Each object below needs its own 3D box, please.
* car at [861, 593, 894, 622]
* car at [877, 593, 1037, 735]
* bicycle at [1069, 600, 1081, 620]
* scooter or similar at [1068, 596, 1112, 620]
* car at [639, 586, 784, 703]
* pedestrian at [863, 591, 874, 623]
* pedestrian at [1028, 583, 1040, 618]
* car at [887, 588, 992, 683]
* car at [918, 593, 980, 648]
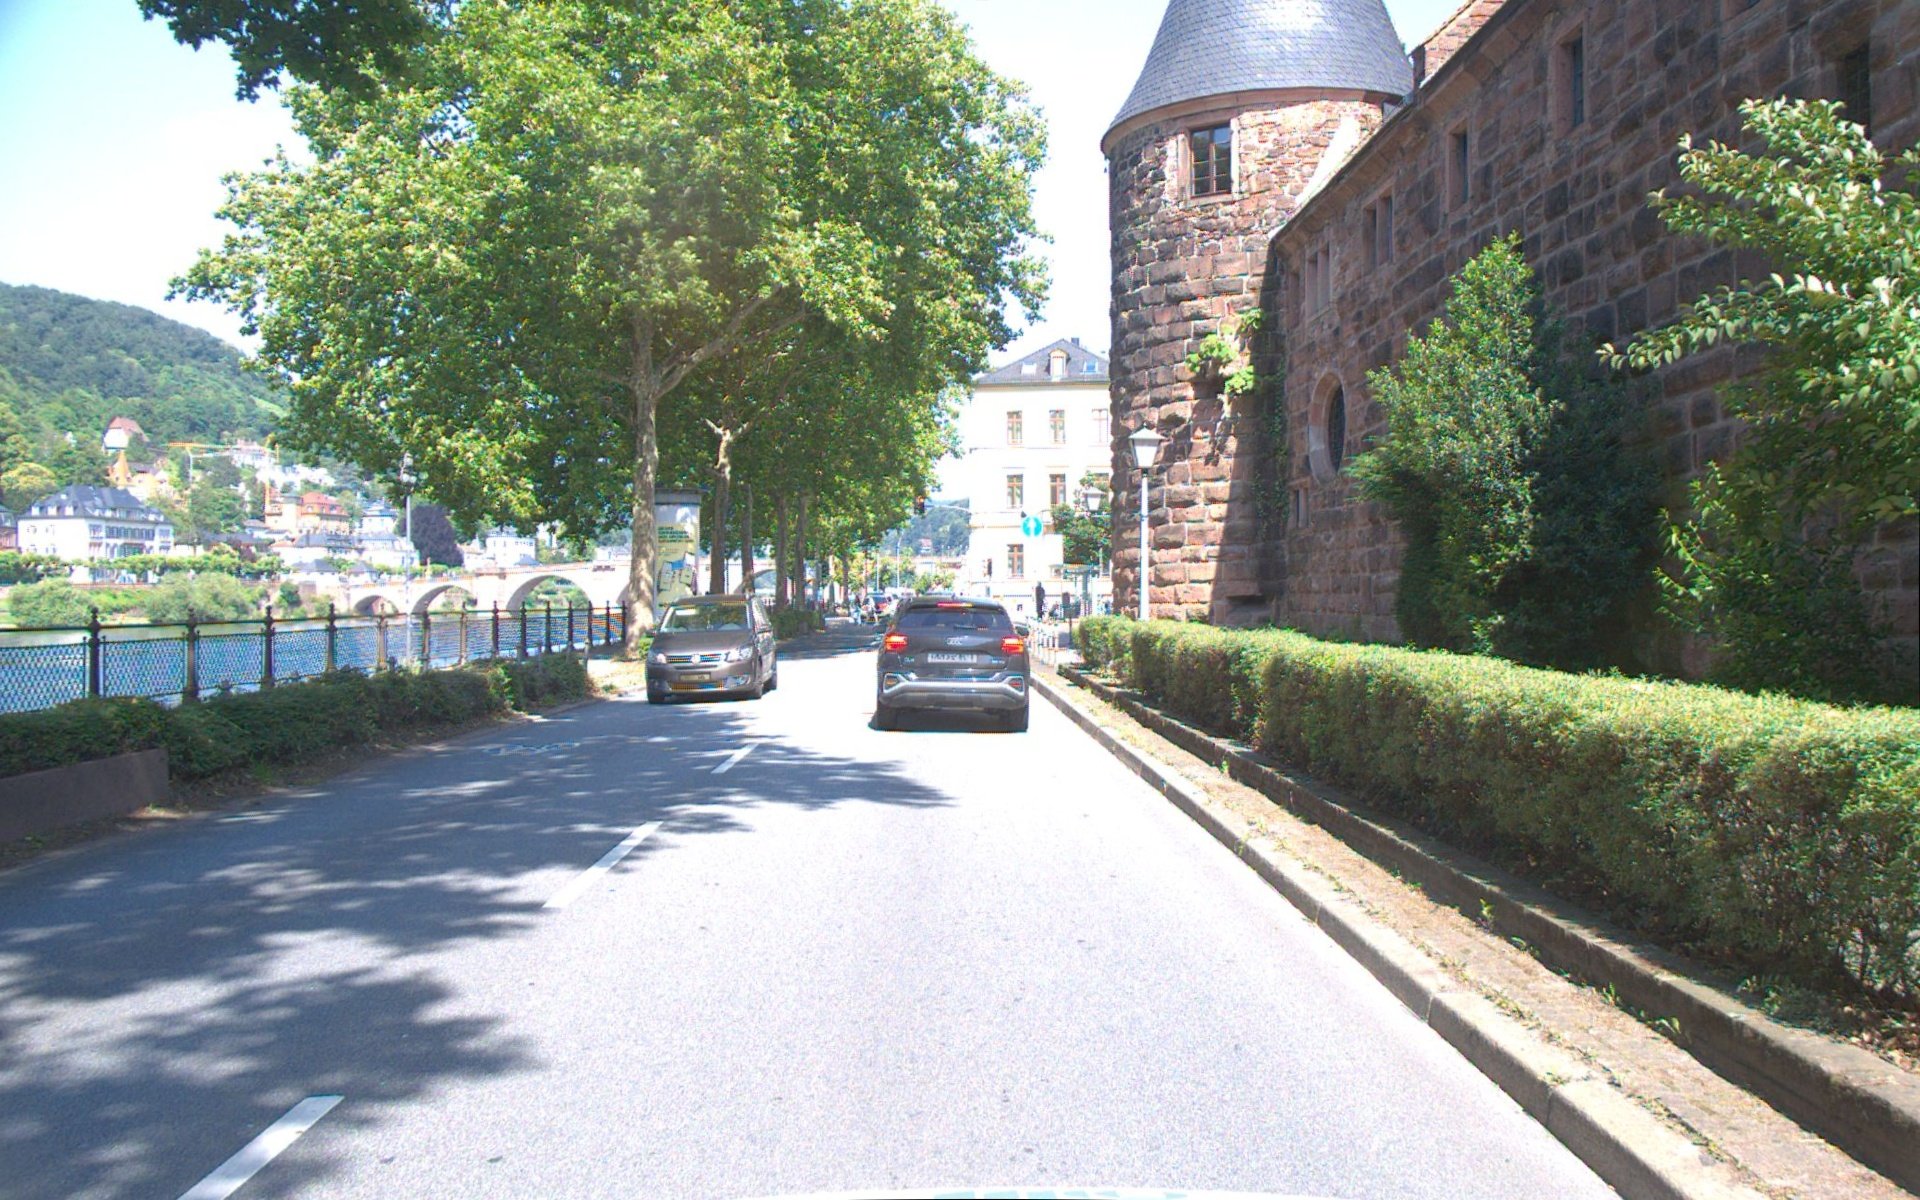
[{"bbox_3d":[-4.695,0.414,94.515,1.581,1.549,3.477,-2,0,1],"label":"car"},{"bbox_3d":[-0.089,0.693,19.862,1.713,1.520,3.627,1,0,-2],"label":"car"},{"bbox_3d":[5.741,0.501,82.632,0.441,0.992,1.399,2,0,-1],"label":"bicycle"},{"bbox_3d":[5.631,0.358,71.634,1.808,0.980,0.429,2,0,-2],"label":"scooter or similar"},{"bbox_3d":[-3.890,0.649,26.491,1.727,1.676,4.089,-2,0,-1],"label":"car"},{"bbox_3d":[-4.852,0.375,88.084,0.507,1.666,0.438,-1,0,-8],"label":"pedestrian"},{"bbox_3d":[3.538,0.025,79.123,0.545,1.661,0.660,1,0,0],"label":"pedestrian"},{"bbox_3d":[-0.368,0.600,30.359,1.764,1.590,3.715,-2,0,-1],"label":"car"},{"bbox_3d":[-0.327,0.571,49.001,1.764,1.549,3.715,0,0,-1],"label":"car"}]
